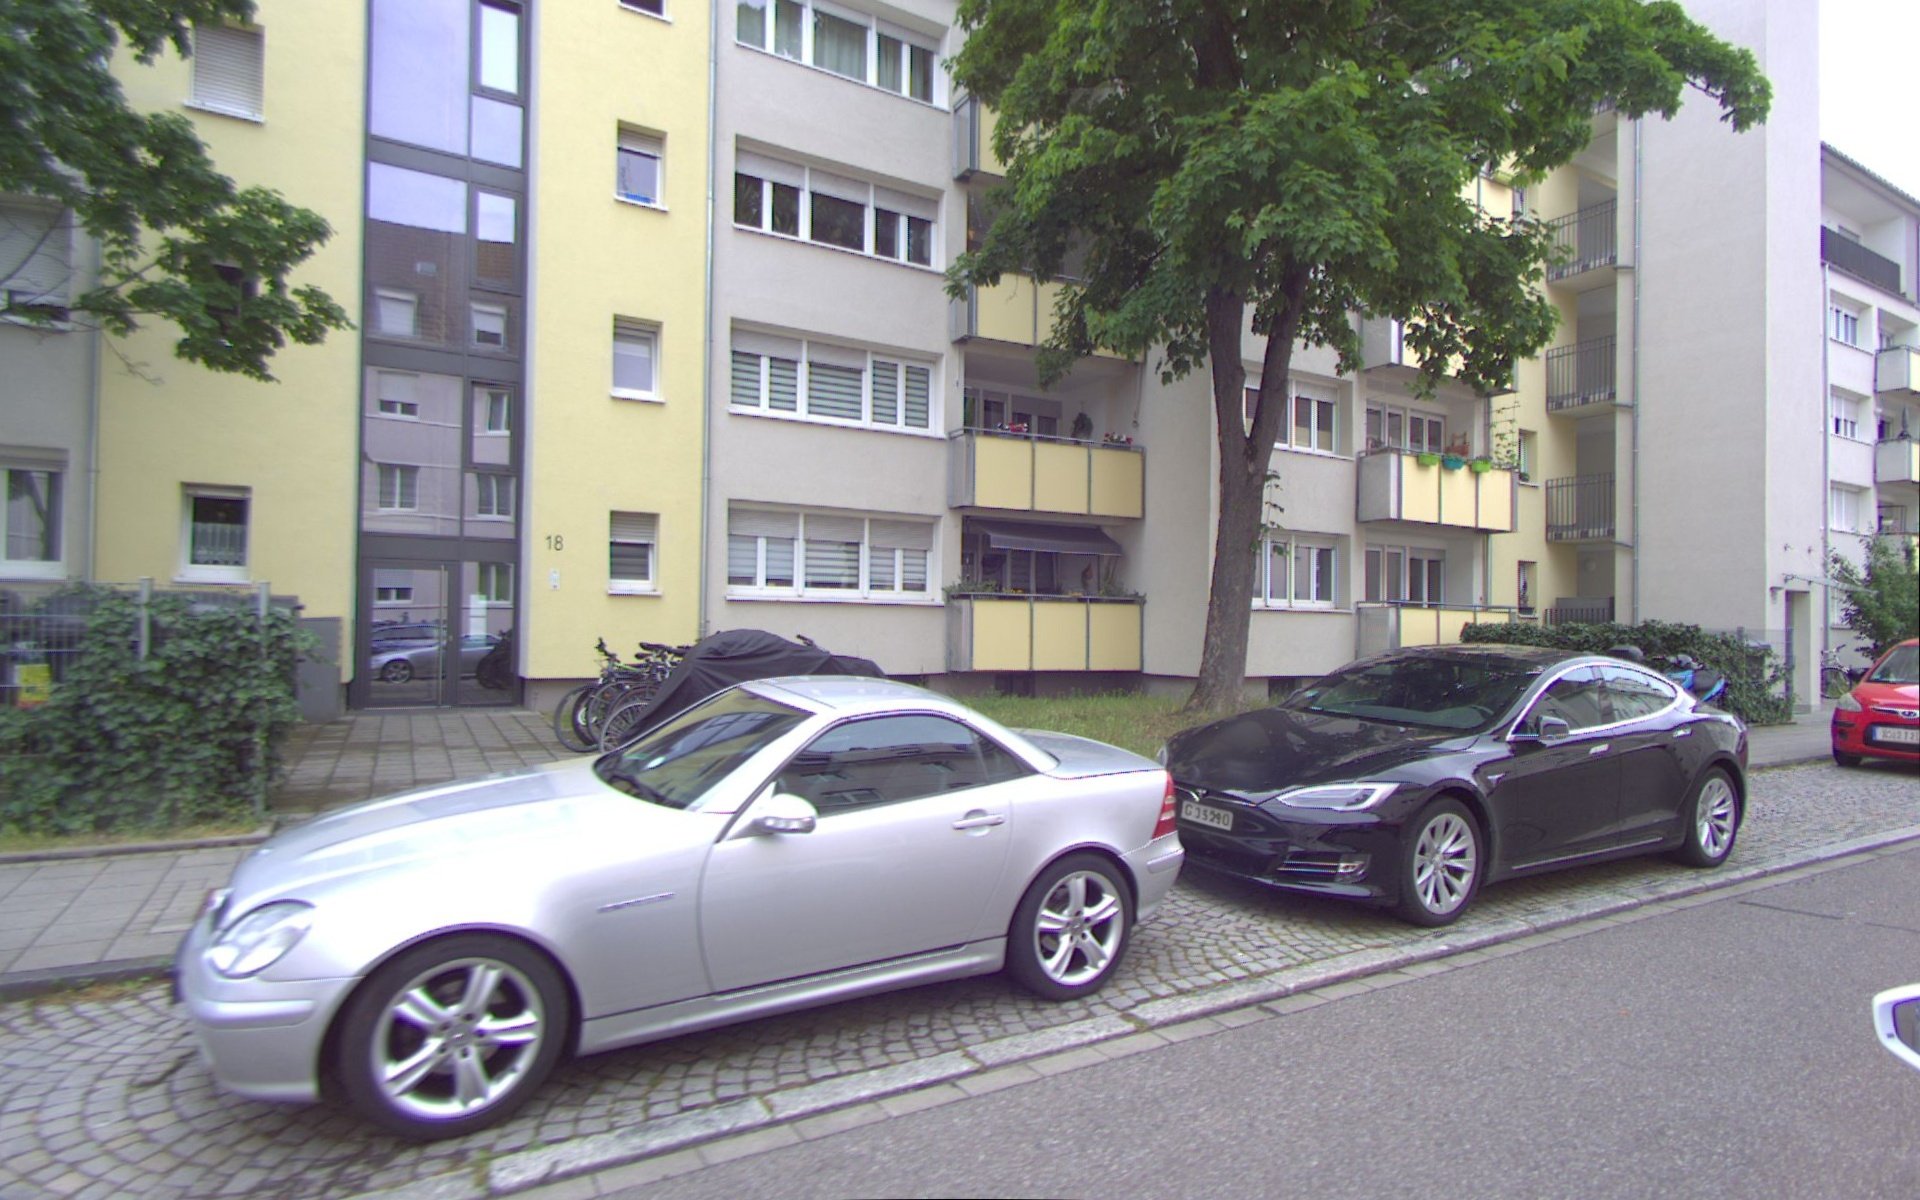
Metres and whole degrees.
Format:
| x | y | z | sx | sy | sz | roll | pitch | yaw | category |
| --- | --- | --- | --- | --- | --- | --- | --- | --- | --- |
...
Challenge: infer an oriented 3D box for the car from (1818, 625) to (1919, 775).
| x | y | z | sx | sy | sz | roll | pitch | yaw | category |
| --- | --- | --- | --- | --- | --- | --- | --- | --- | --- |
| 11.985 | 1.158 | 11.989 | 3.600 | 1.590 | 1.555 | 1 | 1 | -31 | car |

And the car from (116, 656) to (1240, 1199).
| x | y | z | sx | sy | sz | roll | pitch | yaw | category |
| --- | --- | --- | --- | --- | --- | --- | --- | --- | --- |
| -0.863 | 0.942 | 4.328 | 3.968 | 1.275 | 1.688 | 2 | 0 | -30 | car |

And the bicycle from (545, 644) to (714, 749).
| x | y | z | sx | sy | sz | roll | pitch | yaw | category |
| --- | --- | --- | --- | --- | --- | --- | --- | --- | --- |
| -3.770 | 1.073 | 11.504 | 1.753 | 1.115 | 0.549 | 2 | -1 | -30 | bicycle |

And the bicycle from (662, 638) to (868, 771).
| x | y | z | sx | sy | sz | roll | pitch | yaw | category |
| --- | --- | --- | --- | --- | --- | --- | --- | --- | --- |
| -1.762 | 0.919 | 9.180 | 1.753 | 1.115 | 0.549 | 2 | -1 | -30 | bicycle |

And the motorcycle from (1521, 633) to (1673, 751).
| x | y | z | sx | sy | sz | roll | pitch | yaw | category |
| --- | --- | --- | --- | --- | --- | --- | --- | --- | --- |
| 8.157 | 1.133 | 12.831 | 2.203 | 1.374 | 0.674 | 1 | 1 | -31 | motorcycle |

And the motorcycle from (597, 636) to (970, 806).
| x | y | z | sx | sy | sz | roll | pitch | yaw | category |
| --- | --- | --- | --- | --- | --- | --- | --- | --- | --- |
| -1.404 | 0.942 | 8.461 | 3.028 | 1.239 | 0.678 | 2 | -1 | -29 | motorcycle |

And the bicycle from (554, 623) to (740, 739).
| x | y | z | sx | sy | sz | roll | pitch | yaw | category |
| --- | --- | --- | --- | --- | --- | --- | --- | --- | --- |
| -3.237 | 0.820 | 10.446 | 1.753 | 1.115 | 0.549 | 2 | -1 | -30 | bicycle |

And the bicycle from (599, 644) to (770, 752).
| x | y | z | sx | sy | sz | roll | pitch | yaw | category |
| --- | --- | --- | --- | --- | --- | --- | --- | --- | --- |
| -3.066 | 1.063 | 11.241 | 1.753 | 1.115 | 0.549 | 1 | -1 | -30 | bicycle |

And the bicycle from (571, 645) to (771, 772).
| x | y | z | sx | sy | sz | roll | pitch | yaw | category |
| --- | --- | --- | --- | --- | --- | --- | --- | --- | --- |
| -2.764 | 1.009 | 9.665 | 1.753 | 1.115 | 0.549 | 2 | -1 | -30 | bicycle |

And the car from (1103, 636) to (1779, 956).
| x | y | z | sx | sy | sz | roll | pitch | yaw | category |
| --- | --- | --- | --- | --- | --- | --- | --- | --- | --- |
| 3.355 | 1.024 | 6.763 | 4.575 | 1.440 | 1.833 | 2 | 1 | -30 | car |

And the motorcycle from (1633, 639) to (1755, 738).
| x | y | z | sx | sy | sz | roll | pitch | yaw | category |
| --- | --- | --- | --- | --- | --- | --- | --- | --- | --- |
| 10.216 | 1.199 | 13.964 | 1.812 | 1.247 | 0.633 | 2 | 3 | -30 | motorcycle |
